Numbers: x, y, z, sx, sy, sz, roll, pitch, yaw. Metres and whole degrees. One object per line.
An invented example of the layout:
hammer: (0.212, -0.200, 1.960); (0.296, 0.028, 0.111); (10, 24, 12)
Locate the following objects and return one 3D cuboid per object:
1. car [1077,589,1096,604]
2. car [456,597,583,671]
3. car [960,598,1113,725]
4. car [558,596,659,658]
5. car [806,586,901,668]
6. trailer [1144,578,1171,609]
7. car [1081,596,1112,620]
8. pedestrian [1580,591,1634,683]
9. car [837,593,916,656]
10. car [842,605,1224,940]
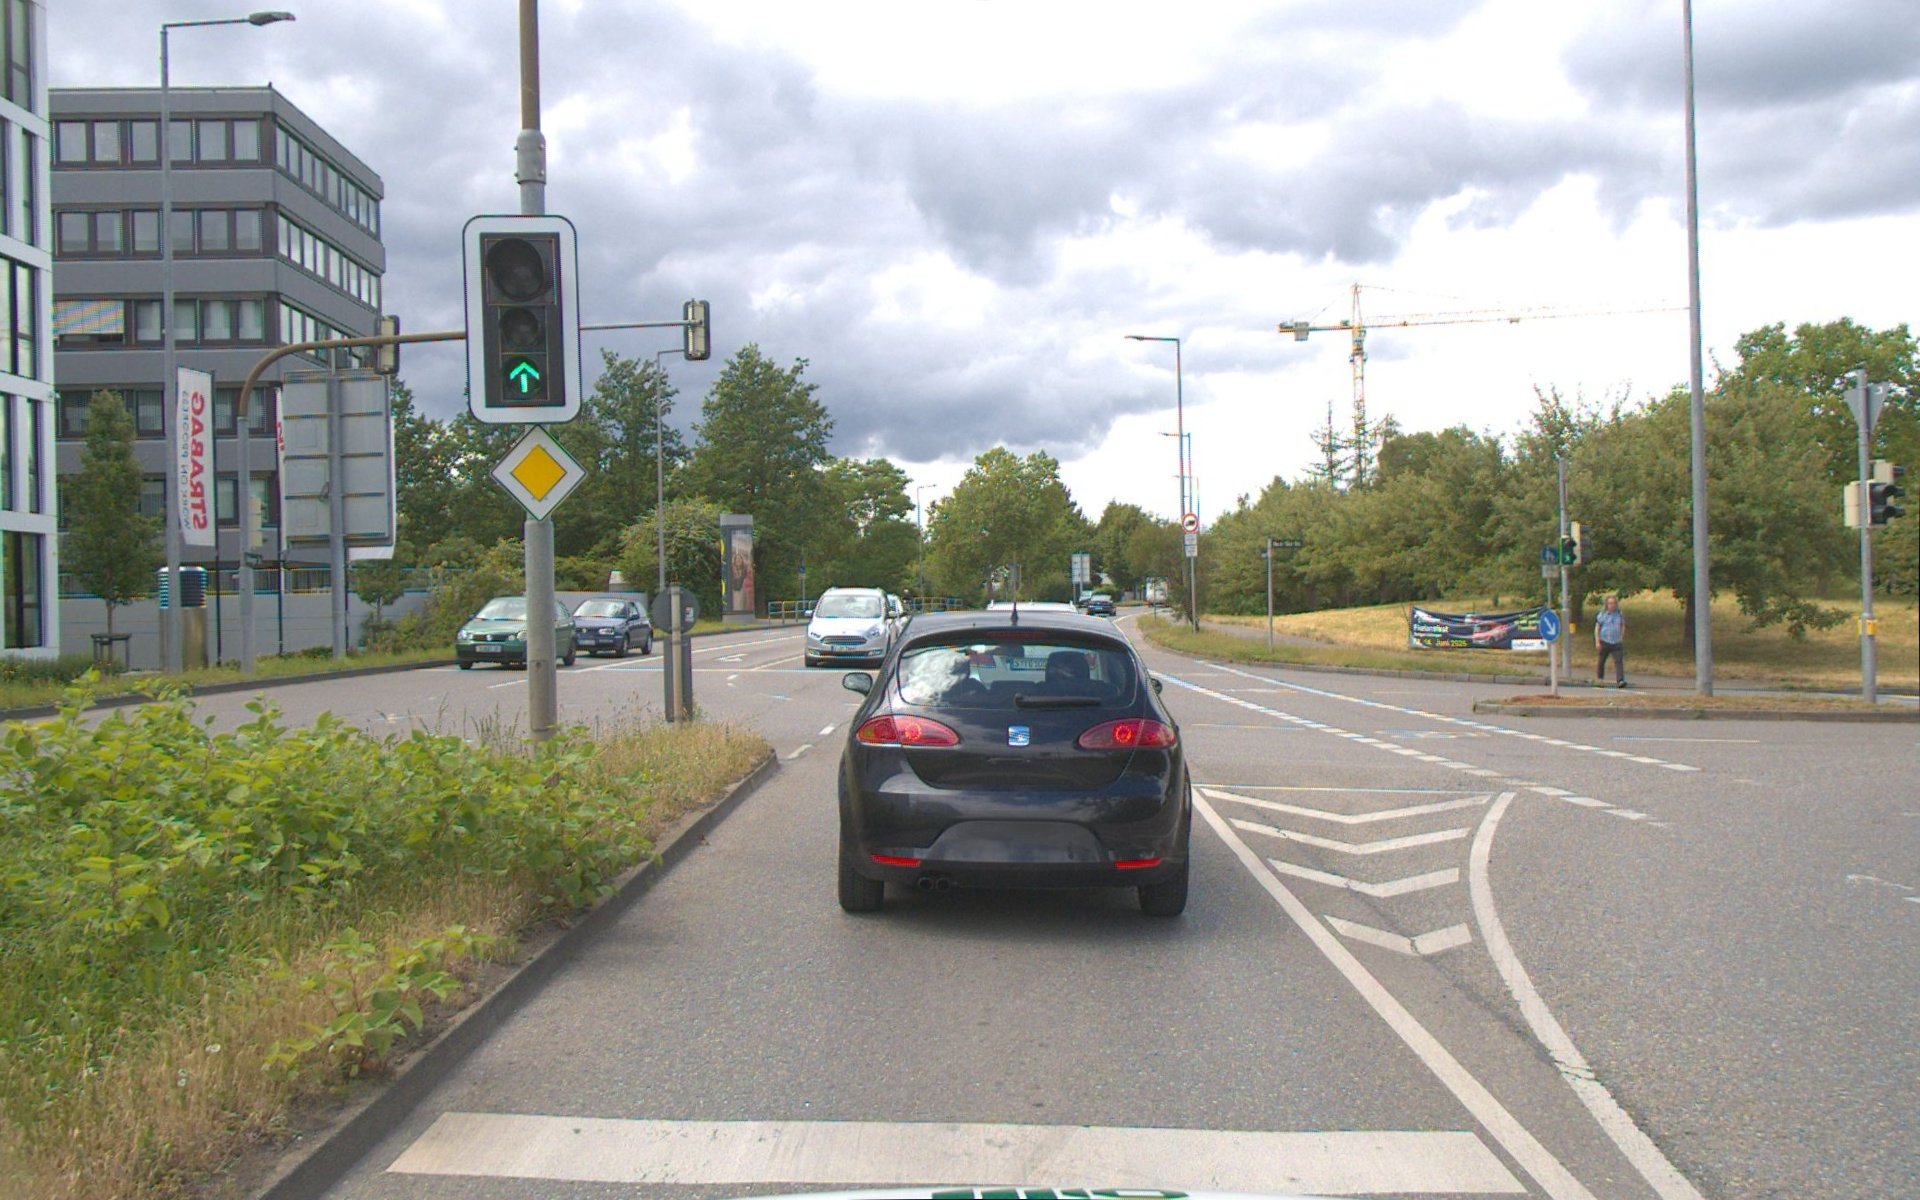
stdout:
car: (14.134, -0.386, 184.615); (1.678, 1.609, 3.745); (1, -1, 11)
car: (-9.082, 0.663, 34.387); (1.572, 1.457, 3.753); (0, 0, 1)
car: (0.918, 0.749, 21.579); (1.797, 1.493, 3.751); (1, 0, 0)
car: (-8.708, 0.637, 41.217); (1.521, 1.444, 3.897); (0, 0, 2)
car: (-2.344, 0.559, 37.385); (1.783, 1.716, 4.645); (1, 0, 1)
trailer: (20.455, -0.669, 171.316); (2.438, 3.127, 5.591); (1, -1, 9)
car: (9.499, 0.532, 114.771); (1.951, 1.593, 4.474); (0, 0, 7)
pedestrian: (13.026, 0.734, 33.318); (0.703, 1.824, 1.044); (1, -1, 3)
car: (-2.145, 0.596, 43.368); (1.626, 1.545, 4.086); (1, 0, 3)
car: (0.297, 0.768, 9.023); (1.676, 1.442, 3.458); (1, 0, -1)
